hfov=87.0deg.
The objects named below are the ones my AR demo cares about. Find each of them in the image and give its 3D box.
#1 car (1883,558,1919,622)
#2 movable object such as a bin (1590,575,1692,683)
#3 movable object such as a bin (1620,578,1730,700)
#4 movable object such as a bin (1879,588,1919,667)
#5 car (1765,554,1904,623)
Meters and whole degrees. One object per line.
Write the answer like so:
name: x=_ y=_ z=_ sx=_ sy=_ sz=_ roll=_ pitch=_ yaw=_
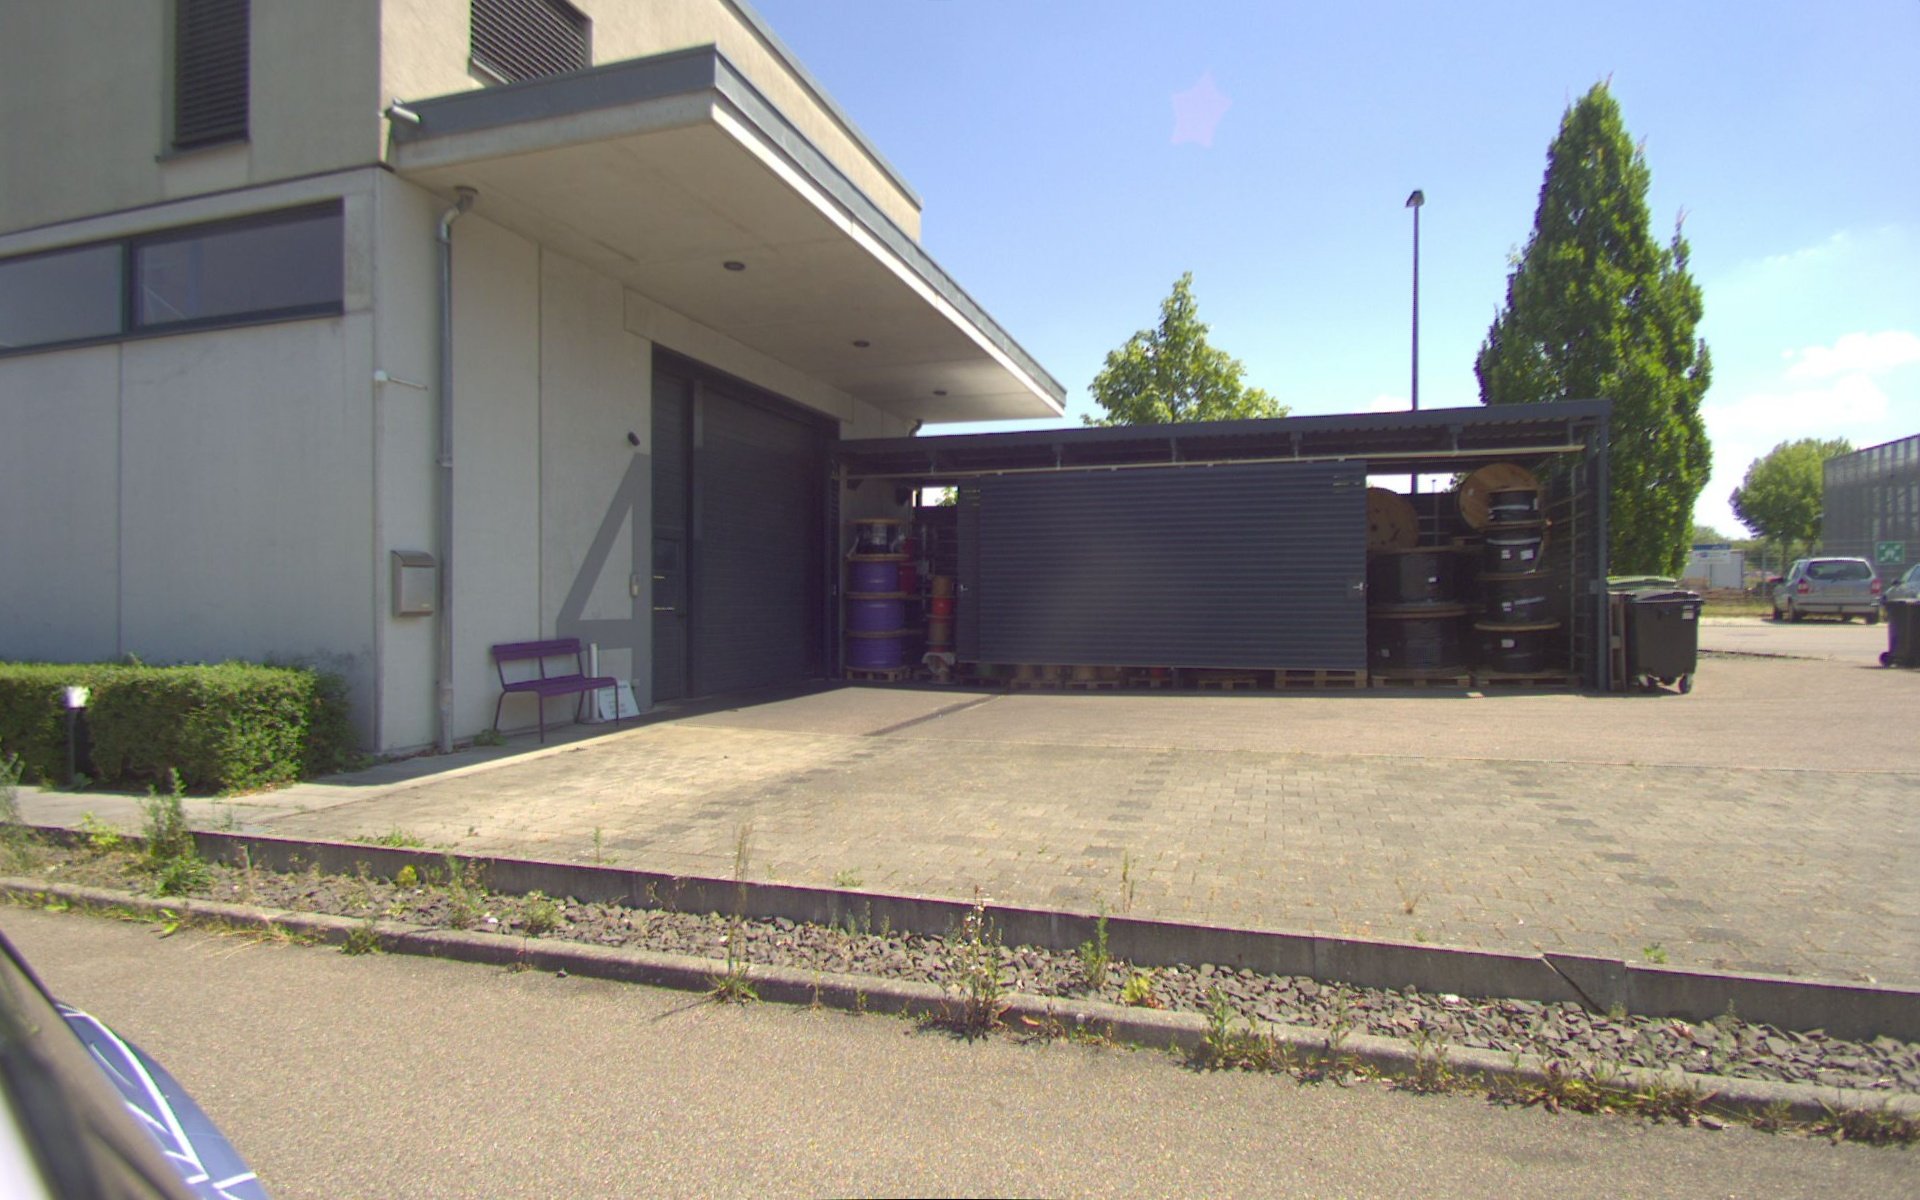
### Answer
car: x=23.879 y=-0.243 z=24.141 sx=1.993 sy=1.503 sz=3.958 roll=1 pitch=2 yaw=31
movable object such as a bin: x=8.816 y=0.365 z=13.138 sx=0.967 sy=1.340 sz=0.704 roll=-1 pitch=0 yaw=24
movable object such as a bin: x=8.327 y=0.436 z=11.837 sx=0.878 sy=1.355 sz=0.807 roll=-1 pitch=0 yaw=23
movable object such as a bin: x=12.832 y=0.363 z=13.584 sx=0.418 sy=1.035 sz=0.583 roll=-1 pitch=0 yaw=-15
car: x=21.935 y=-0.322 z=25.563 sx=1.993 sy=1.602 sz=3.958 roll=1 pitch=2 yaw=31
